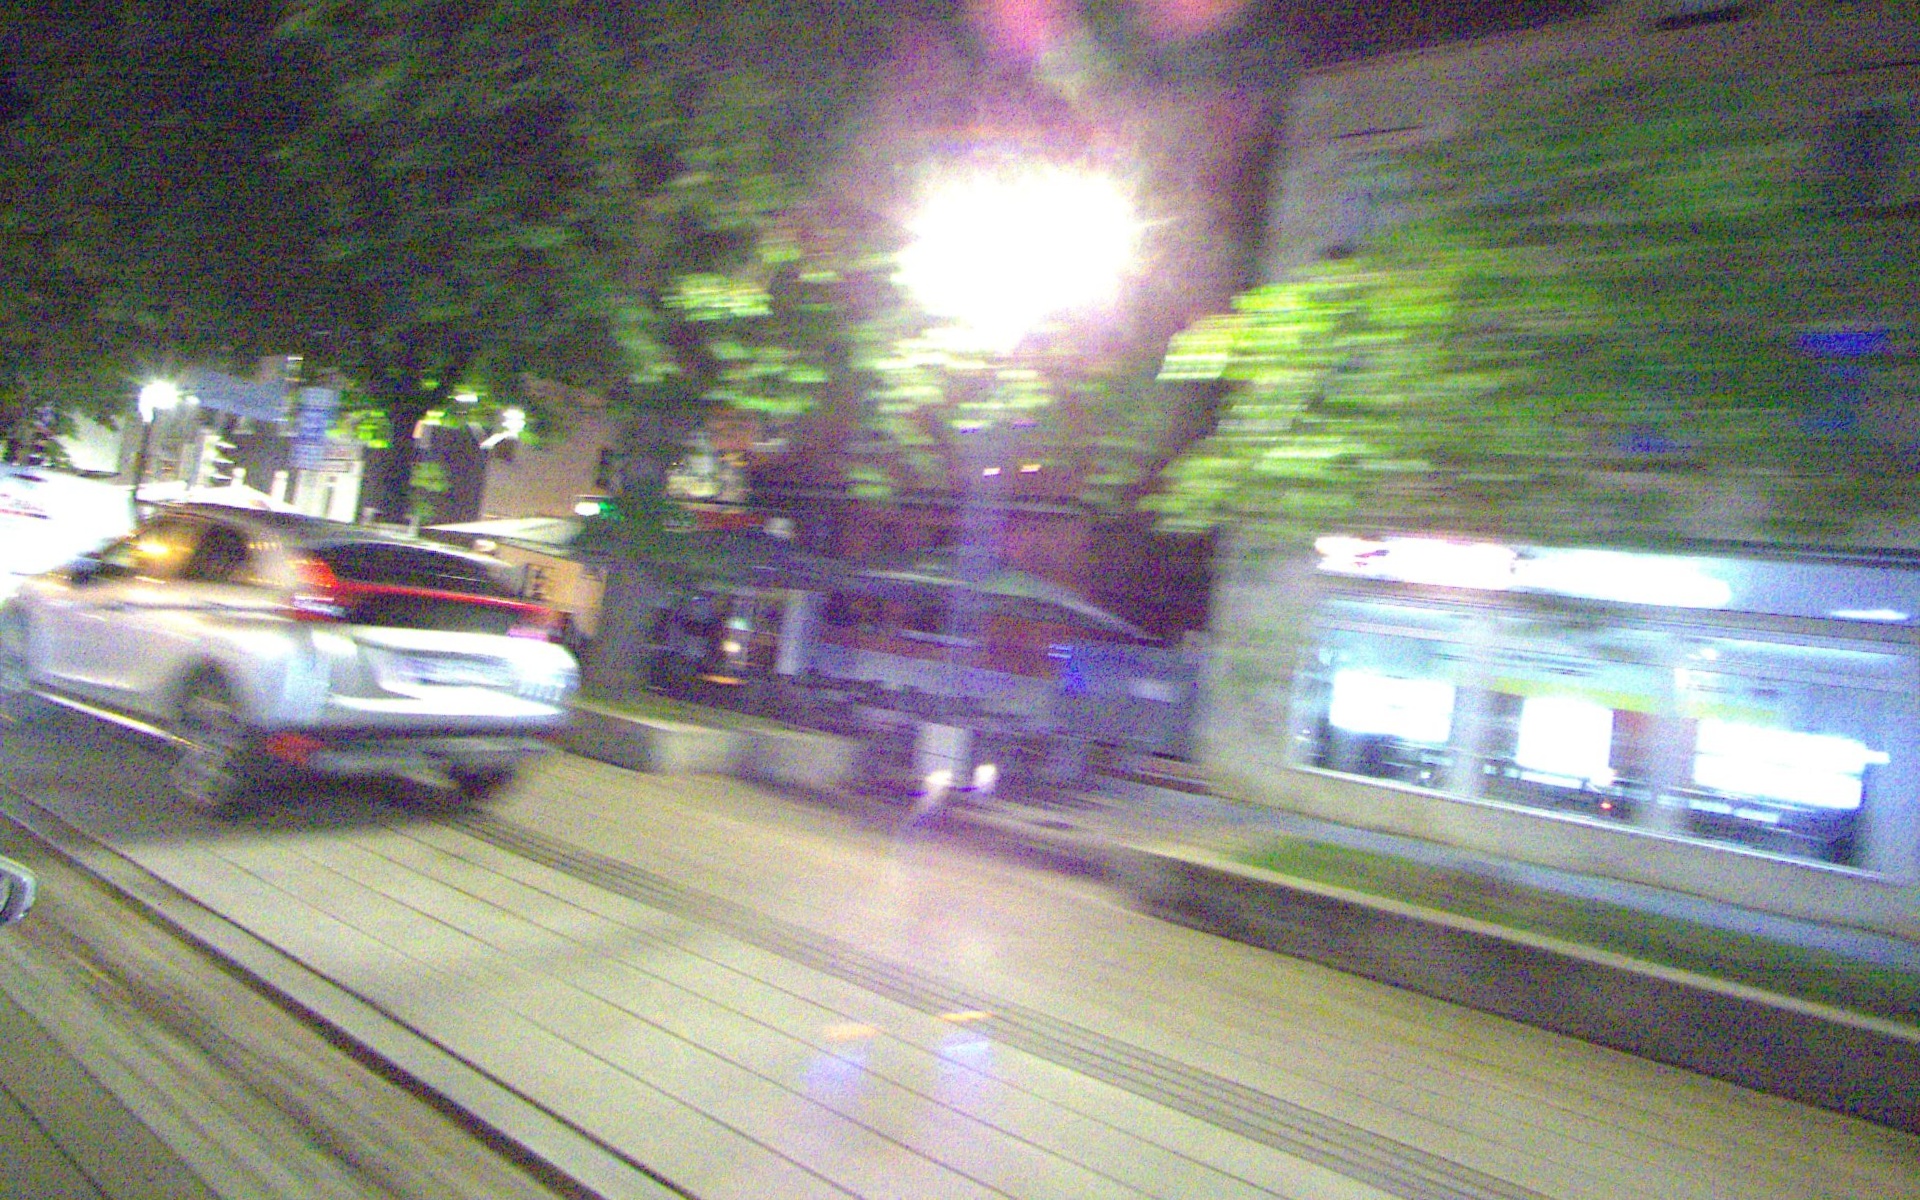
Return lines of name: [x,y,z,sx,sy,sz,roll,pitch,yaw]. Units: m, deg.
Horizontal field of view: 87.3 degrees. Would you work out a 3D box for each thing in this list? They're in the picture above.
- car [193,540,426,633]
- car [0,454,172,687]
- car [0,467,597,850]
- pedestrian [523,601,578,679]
car: [-15.721,-0.269,24.559,1.773,1.548,4.328,6,-4,31]
car: [-9.654,-0.466,9.526,4.503,1.842,1.794,7,-3,31]
car: [-4.592,0.231,6.562,4.224,1.677,1.689,7,-3,30]
pedestrian: [-7.345,0.720,18.040,0.677,1.277,0.525,10,-3,-30]
